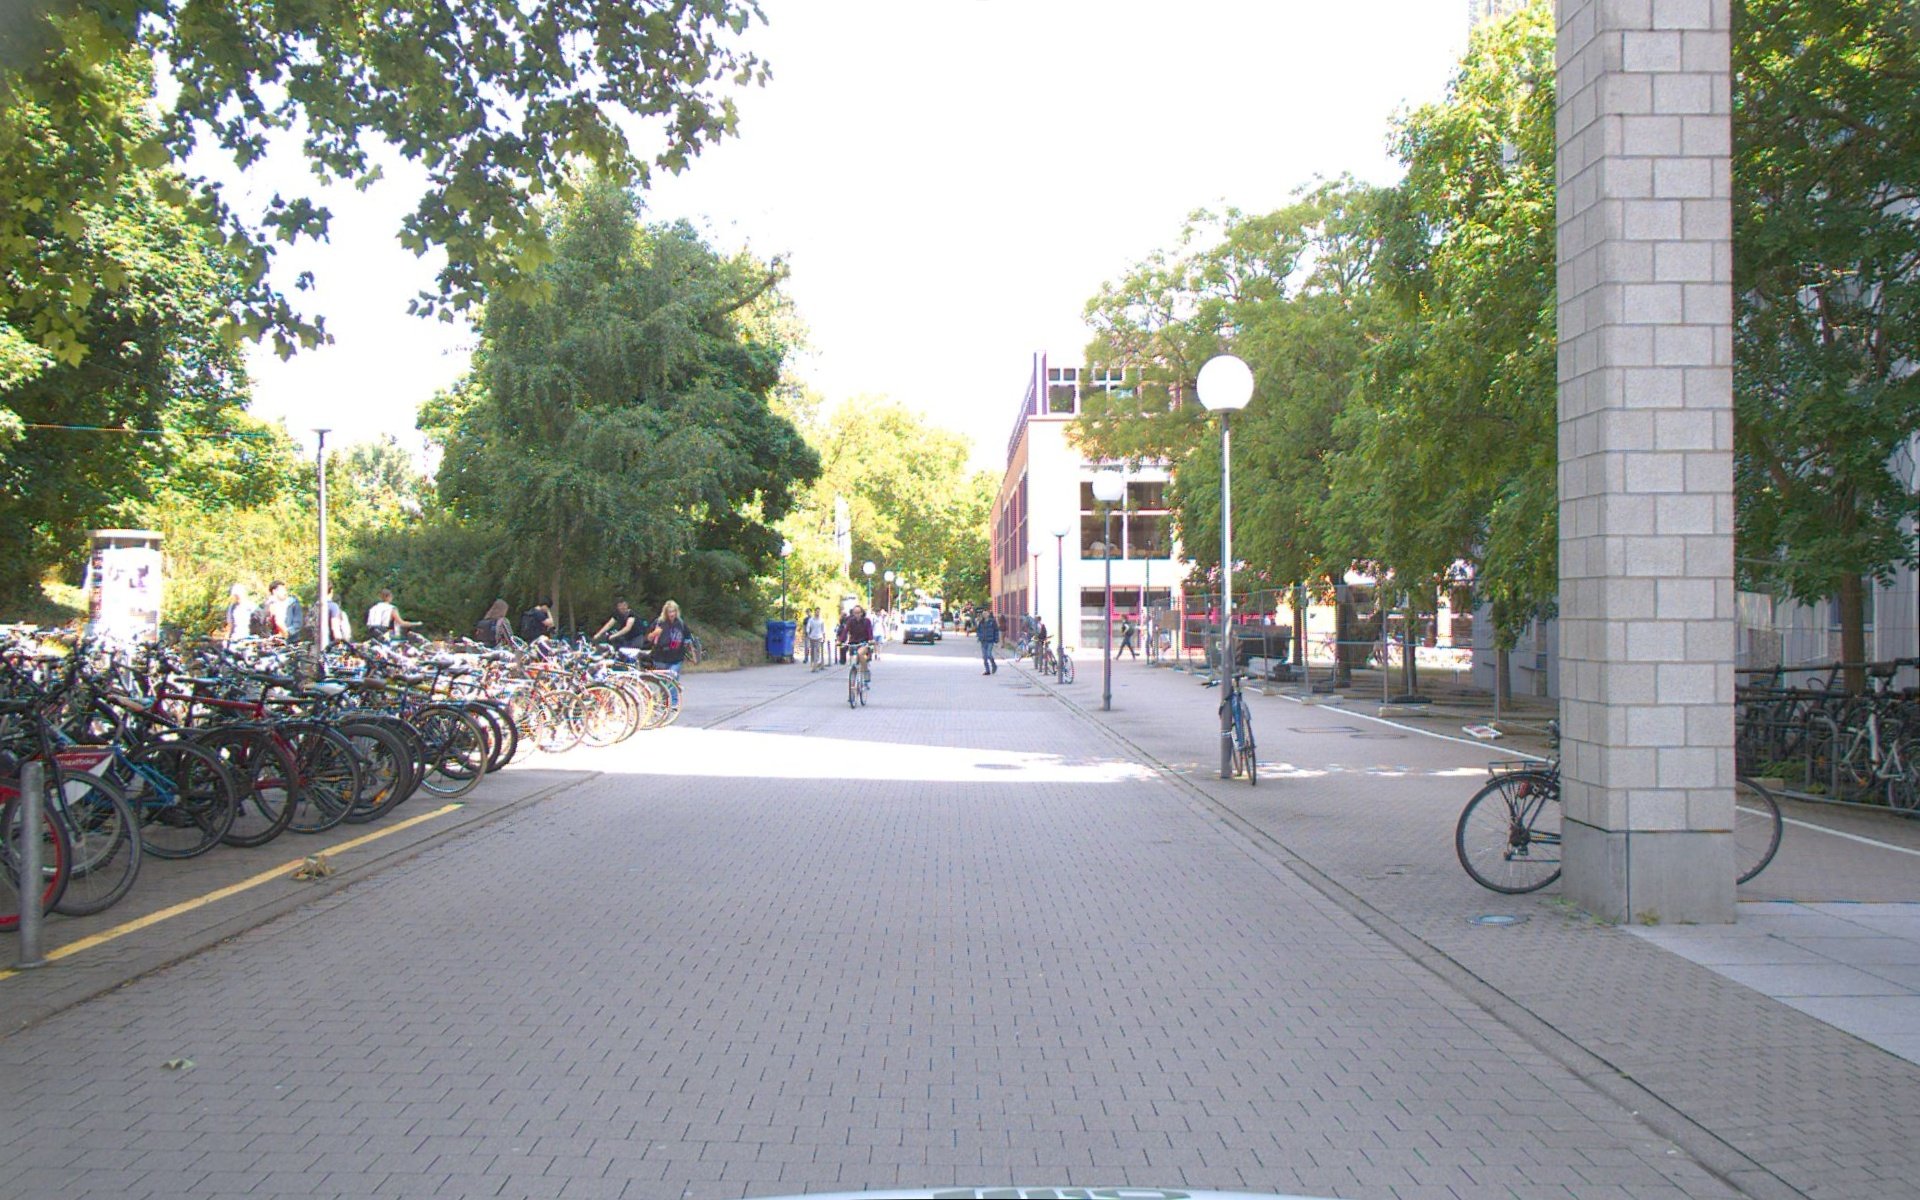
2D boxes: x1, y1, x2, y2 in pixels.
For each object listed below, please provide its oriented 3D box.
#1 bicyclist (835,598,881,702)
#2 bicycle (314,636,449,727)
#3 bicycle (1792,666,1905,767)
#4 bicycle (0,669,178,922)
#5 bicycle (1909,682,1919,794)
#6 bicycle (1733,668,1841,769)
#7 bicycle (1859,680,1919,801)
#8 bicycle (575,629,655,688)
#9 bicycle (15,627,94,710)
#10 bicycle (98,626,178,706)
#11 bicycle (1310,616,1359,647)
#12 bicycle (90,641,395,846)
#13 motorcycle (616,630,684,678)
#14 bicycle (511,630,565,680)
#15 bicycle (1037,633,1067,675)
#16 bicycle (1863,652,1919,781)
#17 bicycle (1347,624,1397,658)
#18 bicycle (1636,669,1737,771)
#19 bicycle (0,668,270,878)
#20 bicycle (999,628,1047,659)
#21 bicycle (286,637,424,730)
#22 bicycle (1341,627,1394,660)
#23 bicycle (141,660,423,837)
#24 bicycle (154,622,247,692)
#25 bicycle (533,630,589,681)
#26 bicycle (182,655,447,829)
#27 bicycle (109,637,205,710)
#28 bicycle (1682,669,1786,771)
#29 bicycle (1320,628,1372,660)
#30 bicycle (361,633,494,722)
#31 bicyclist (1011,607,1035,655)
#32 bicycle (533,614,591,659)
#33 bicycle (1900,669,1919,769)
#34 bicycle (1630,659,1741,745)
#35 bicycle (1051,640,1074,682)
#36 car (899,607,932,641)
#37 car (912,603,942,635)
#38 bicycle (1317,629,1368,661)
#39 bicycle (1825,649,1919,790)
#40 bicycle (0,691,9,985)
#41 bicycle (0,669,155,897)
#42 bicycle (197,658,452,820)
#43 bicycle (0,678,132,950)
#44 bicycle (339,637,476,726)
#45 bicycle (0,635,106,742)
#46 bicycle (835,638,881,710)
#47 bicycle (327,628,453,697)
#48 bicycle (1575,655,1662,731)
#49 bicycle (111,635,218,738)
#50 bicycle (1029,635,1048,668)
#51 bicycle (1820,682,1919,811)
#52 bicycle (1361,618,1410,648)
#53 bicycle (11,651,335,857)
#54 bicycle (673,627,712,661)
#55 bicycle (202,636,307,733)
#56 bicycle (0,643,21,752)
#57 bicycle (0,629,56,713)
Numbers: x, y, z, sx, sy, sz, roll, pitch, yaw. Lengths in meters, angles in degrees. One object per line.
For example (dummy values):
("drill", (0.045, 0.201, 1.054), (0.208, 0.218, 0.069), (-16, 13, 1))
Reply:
("bicyclist", (-1.759, 0.857, 28.608), (0.756, 1.746, 0.910), (-1, -2, -3))
("bicycle", (-7.319, 1.015, 20.922), (1.659, 1.102, 0.474), (0, -1, 19))
("bicycle", (9.051, 1.167, 16.887), (0.285, 0.921, 1.447), (0, 0, -4))
("bicycle", (-4.709, 0.911, 7.866), (1.701, 1.146, 0.496), (1, -1, -6))
("bicycle", (8.101, 1.139, 13.067), (0.285, 0.921, 1.447), (0, 0, -4))
("bicycle", (8.391, 1.184, 16.832), (0.285, 0.921, 1.447), (0, 0, -4))
("bicycle", (7.756, 1.135, 13.197), (0.285, 0.921, 1.447), (0, 0, -4))
("bicycle", (-6.806, 1.134, 32.697), (0.463, 1.129, 1.842), (0, -1, 28))
("bicycle", (-12.978, 0.967, 23.693), (1.747, 1.129, 0.471), (0, -1, 43))
("bicycle", (-12.141, 0.960, 24.405), (1.747, 1.129, 0.471), (0, -1, 43))
("bicycle", (14.407, 1.210, 63.655), (1.773, 1.129, 0.523), (1, -1, -2))
("bicycle", (-4.575, 0.904, 10.625), (1.702, 1.257, 0.496), (1, -1, -8))
("motorcycle", (-7.359, 1.268, 39.231), (1.990, 1.065, 0.471), (2, 0, 42))
("bicycle", (-9.354, 1.208, 36.631), (0.470, 1.065, 1.674), (1, -1, -41))
("bicycle", (2.559, 1.504, 46.173), (0.694, 1.112, 1.748), (0, 0, -1))
("bicycle", (8.574, 1.038, 14.624), (0.285, 1.113, 1.447), (0, 0, -4))
("bicycle", (14.485, 1.442, 58.178), (1.658, 1.129, 0.474), (1, -1, 3))
("bicycle", (7.281, 1.188, 16.627), (0.285, 0.921, 1.447), (0, 0, -4))
("bicycle", (-4.873, 0.957, 9.367), (1.705, 1.127, 0.495), (1, -1, -14))
("bicycle", (2.324, 1.597, 60.853), (1.876, 1.102, 0.584), (0, -1, 45))
("bicycle", (-7.486, 1.021, 20.451), (1.659, 1.102, 0.474), (0, -1, 19))
("bicycle", (14.600, 1.570, 59.300), (1.771, 1.129, 0.524), (1, -1, 3))
("bicycle", (-4.515, 0.977, 11.104), (1.664, 1.127, 0.495), (1, -1, -12))
("bicycle", (-12.788, 0.942, 27.833), (1.738, 1.130, 0.473), (0, -1, 29))
("bicycle", (-8.969, 1.244, 37.121), (0.470, 1.065, 1.674), (3, -1, -41))
("bicycle", (-4.504, 0.979, 11.629), (1.664, 1.165, 0.472), (1, -1, -13))
("bicycle", (-13.122, 1.184, 27.009), (1.738, 1.130, 0.473), (0, -1, 29))
("bicycle", (7.805, 1.192, 16.730), (0.285, 0.921, 1.447), (0, 0, -4))
("bicycle", (14.191, 1.630, 60.813), (1.771, 1.129, 0.524), (1, -1, 3))
("bicycle", (-7.054, 1.017, 21.920), (1.658, 1.130, 0.474), (0, -1, 12))
("bicyclist", (2.321, 1.136, 60.875), (0.654, 1.746, 0.585), (0, -1, 44))
("bicycle", (-9.709, 0.888, 40.417), (0.463, 1.065, 1.699), (2, -1, 21))
("bicycle", (8.916, 1.088, 14.638), (0.285, 0.903, 1.447), (0, 0, -4))
("bicycle", (8.642, 1.194, 19.766), (0.285, 0.921, 1.801), (0, 0, -9))
("bicycle", (2.476, 1.482, 40.196), (0.387, 0.952, 1.731), (-2, 0, -1))
("car", (-2.463, 1.313, 92.032), (1.754, 1.792, 4.480), (0, 0, -1))
("car", (-2.077, 1.207, 105.740), (1.845, 2.008, 5.214), (0, 0, -1))
("bicycle", (14.245, 1.683, 61.608), (1.773, 1.129, 0.523), (1, -1, -3))
("bicycle", (8.191, 1.031, 14.565), (0.285, 1.148, 1.447), (0, 0, -4))
("bicycle", (-4.572, 0.909, 6.375), (1.698, 1.127, 0.575), (0, -1, 18))
("bicycle", (-5.111, 0.933, 8.510), (1.713, 1.127, 0.493), (1, -1, -25))
("bicycle", (-4.608, 0.998, 12.085), (1.664, 1.127, 0.472), (1, -1, -13))
("bicycle", (-4.615, 0.915, 7.247), (1.699, 1.127, 0.497), (1, -1, -1))
("bicycle", (-7.152, 1.042, 21.424), (1.682, 1.102, 0.474), (0, -1, 14))
("bicycle", (-9.975, 0.944, 18.086), (1.666, 1.102, 0.472), (0, -1, 38))
("bicycle", (-1.752, 1.256, 28.575), (0.756, 1.170, 2.106), (-1, -1, -3))
("bicycle", (-9.121, 0.993, 26.490), (1.875, 1.065, 0.538), (1, 0, -22))
("bicycle", (8.696, 1.212, 21.903), (0.285, 0.921, 1.615), (0, 0, -9))
("bicycle", (-9.076, 0.961, 18.855), (1.668, 1.102, 0.471), (0, -1, 41))
("bicycle", (2.447, 1.592, 51.507), (0.441, 0.978, 1.740), (-3, 0, -1))
("bicycle", (7.425, 1.146, 13.200), (0.285, 0.921, 1.447), (0, 0, -4))
("bicycle", (16.409, 1.277, 63.737), (1.771, 1.129, 0.473), (1, -1, -7))
("bicycle", (-4.761, 0.923, 10.060), (1.700, 1.199, 0.497), (1, -1, -2))
("bicycle", (-7.576, 1.255, 46.854), (0.412, 0.926, 1.741), (0, -2, 14))
("bicycle", (-8.463, 0.990, 19.824), (1.668, 1.102, 0.471), (0, -1, 41))
("bicycle", (-10.445, 0.993, 17.228), (1.665, 1.102, 0.472), (0, -1, 35))
("bicycle", (-13.391, 0.979, 23.324), (1.743, 1.130, 0.472), (0, -1, 38))
